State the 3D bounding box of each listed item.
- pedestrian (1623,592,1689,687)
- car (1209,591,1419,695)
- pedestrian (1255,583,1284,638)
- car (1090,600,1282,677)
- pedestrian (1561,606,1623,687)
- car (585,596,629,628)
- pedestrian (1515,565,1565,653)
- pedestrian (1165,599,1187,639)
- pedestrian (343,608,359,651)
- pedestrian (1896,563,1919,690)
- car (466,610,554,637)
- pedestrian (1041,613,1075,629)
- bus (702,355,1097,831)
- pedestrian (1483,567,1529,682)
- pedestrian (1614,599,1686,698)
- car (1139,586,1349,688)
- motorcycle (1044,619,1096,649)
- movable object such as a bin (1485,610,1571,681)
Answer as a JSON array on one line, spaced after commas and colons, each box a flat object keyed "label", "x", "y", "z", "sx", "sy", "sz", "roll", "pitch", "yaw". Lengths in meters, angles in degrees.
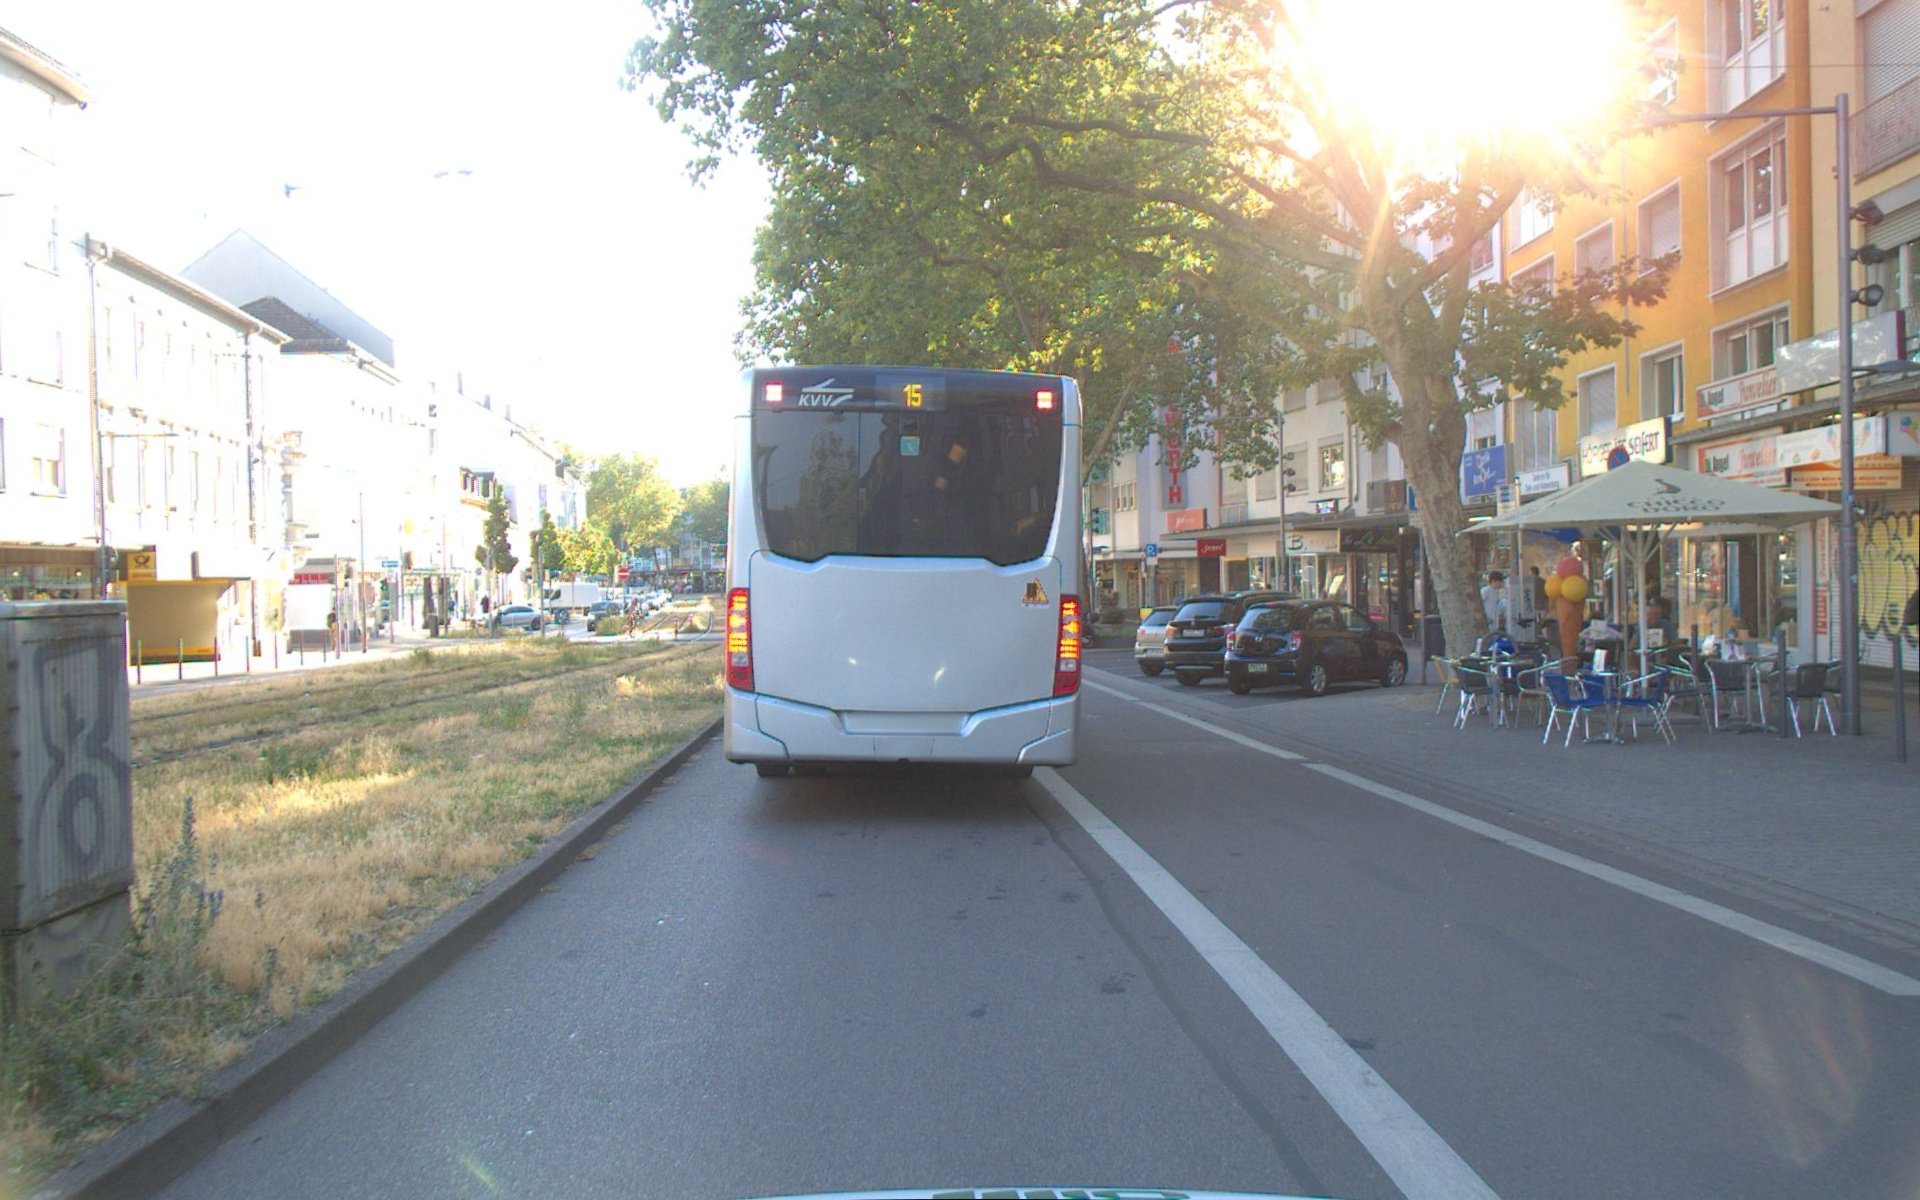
[{"label": "pedestrian", "x": 9.707, "y": 0.544, "z": 23.099, "sx": 0.571, "sy": 1.297, "sz": 0.758, "roll": 1, "pitch": 0, "yaw": -3}, {"label": "car", "x": 5.942, "y": 0.683, "z": 27.569, "sx": 3.581, "sy": 1.567, "sz": 1.713, "roll": -1, "pitch": 0, "yaw": -44}, {"label": "pedestrian", "x": 10.461, "y": 0.366, "z": 55.910, "sx": 0.765, "sy": 1.825, "sz": 0.764, "roll": -1, "pitch": 0, "yaw": -3}, {"label": "car", "x": 4.846, "y": 0.785, "z": 35.161, "sx": 4.141, "sy": 1.477, "sz": 1.782, "roll": -1, "pitch": 0, "yaw": -42}, {"label": "pedestrian", "x": 9.087, "y": 0.662, "z": 23.803, "sx": 0.571, "sy": 1.135, "sz": 0.750, "roll": 1, "pitch": 0, "yaw": -3}, {"label": "car", "x": -18.852, "y": 0.629, "z": 88.447, "sx": 1.688, "sy": 1.535, "sz": 3.474, "roll": -4, "pitch": 0, "yaw": -2}, {"label": "pedestrian", "x": 12.546, "y": 0.192, "z": 35.781, "sx": 0.692, "sy": 1.822, "sz": 0.788, "roll": -4, "pitch": 0, "yaw": 2}, {"label": "pedestrian", "x": 9.533, "y": 0.841, "z": 73.014, "sx": 0.734, "sy": 1.708, "sz": 0.833, "roll": -1, "pitch": 2, "yaw": -10}, {"label": "pedestrian", "x": -24.816, "y": 1.189, "z": 67.363, "sx": 0.417, "sy": 1.743, "sz": 0.508, "roll": -1, "pitch": 0, "yaw": 1}, {"label": "pedestrian", "x": 12.053, "y": 0.322, "z": 20.626, "sx": 0.612, "sy": 1.573, "sz": 0.636, "roll": -1, "pitch": 0, "yaw": 27}, {"label": "car", "x": -25.799, "y": 1.352, "z": 94.892, "sx": 4.509, "sy": 1.437, "sz": 1.971, "roll": -1, "pitch": 0, "yaw": -40}, {"label": "pedestrian", "x": 3.750, "y": 0.791, "z": 63.440, "sx": 1.229, "sy": 0.599, "sz": 0.482, "roll": -1, "pitch": 0, "yaw": -5}, {"label": "bus", "x": -0.535, "y": -0.072, "z": 14.529, "sx": 2.624, "sy": 3.137, "sz": 7.111, "roll": 0, "pitch": 0, "yaw": -2}, {"label": "pedestrian", "x": 9.054, "y": 0.401, "z": 27.413, "sx": 0.509, "sy": 1.864, "sz": 0.471, "roll": -1, "pitch": 0, "yaw": -25}, {"label": "pedestrian", "x": 8.936, "y": 0.615, "z": 21.440, "sx": 0.593, "sy": 1.246, "sz": 0.744, "roll": -1, "pitch": 0, "yaw": -3}, {"label": "car", "x": 5.335, "y": 0.647, "z": 30.756, "sx": 4.120, "sy": 1.710, "sz": 1.780, "roll": -1, "pitch": 0, "yaw": -44}, {"label": "motorcycle", "x": 3.491, "y": 1.080, "z": 52.480, "sx": 1.540, "sy": 0.908, "sz": 0.544, "roll": -2, "pitch": 0, "yaw": -7}, {"label": "movable object such as a bin", "x": 8.581, "y": 0.677, "z": 25.014, "sx": 0.914, "sy": 1.041, "sz": 0.833, "roll": 1, "pitch": 0, "yaw": -25}]
